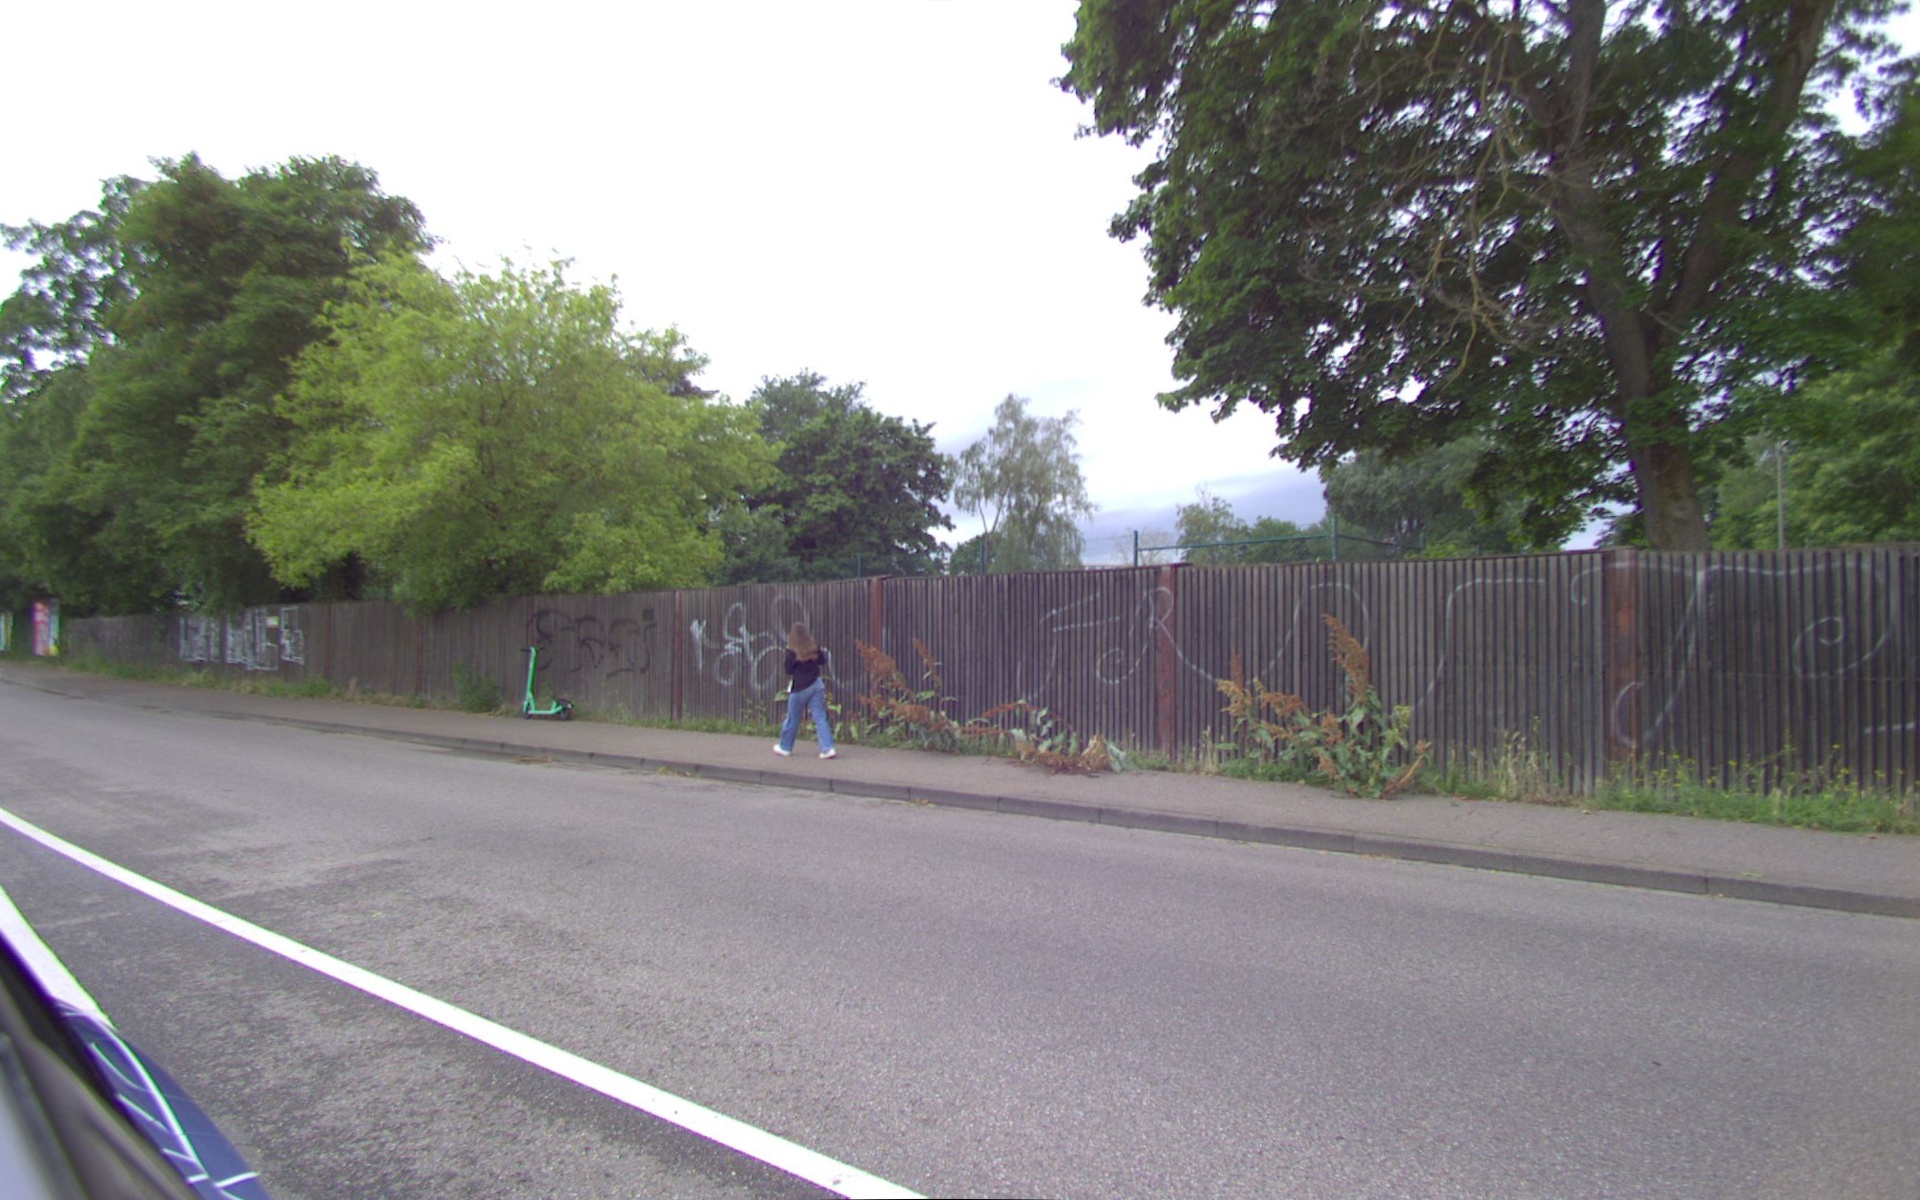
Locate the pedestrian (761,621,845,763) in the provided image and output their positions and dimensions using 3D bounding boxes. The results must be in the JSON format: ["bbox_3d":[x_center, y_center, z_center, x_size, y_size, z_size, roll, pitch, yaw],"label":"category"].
[{"bbox_3d":[-1.779,1.009,11.462,0.723,1.541,0.606,-2,-2,36],"label":"pedestrian"}]

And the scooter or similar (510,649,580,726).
[{"bbox_3d":[-6.593,1.368,16.063,1.301,1.179,0.419,-2,-2,36],"label":"scooter or similar"}]
